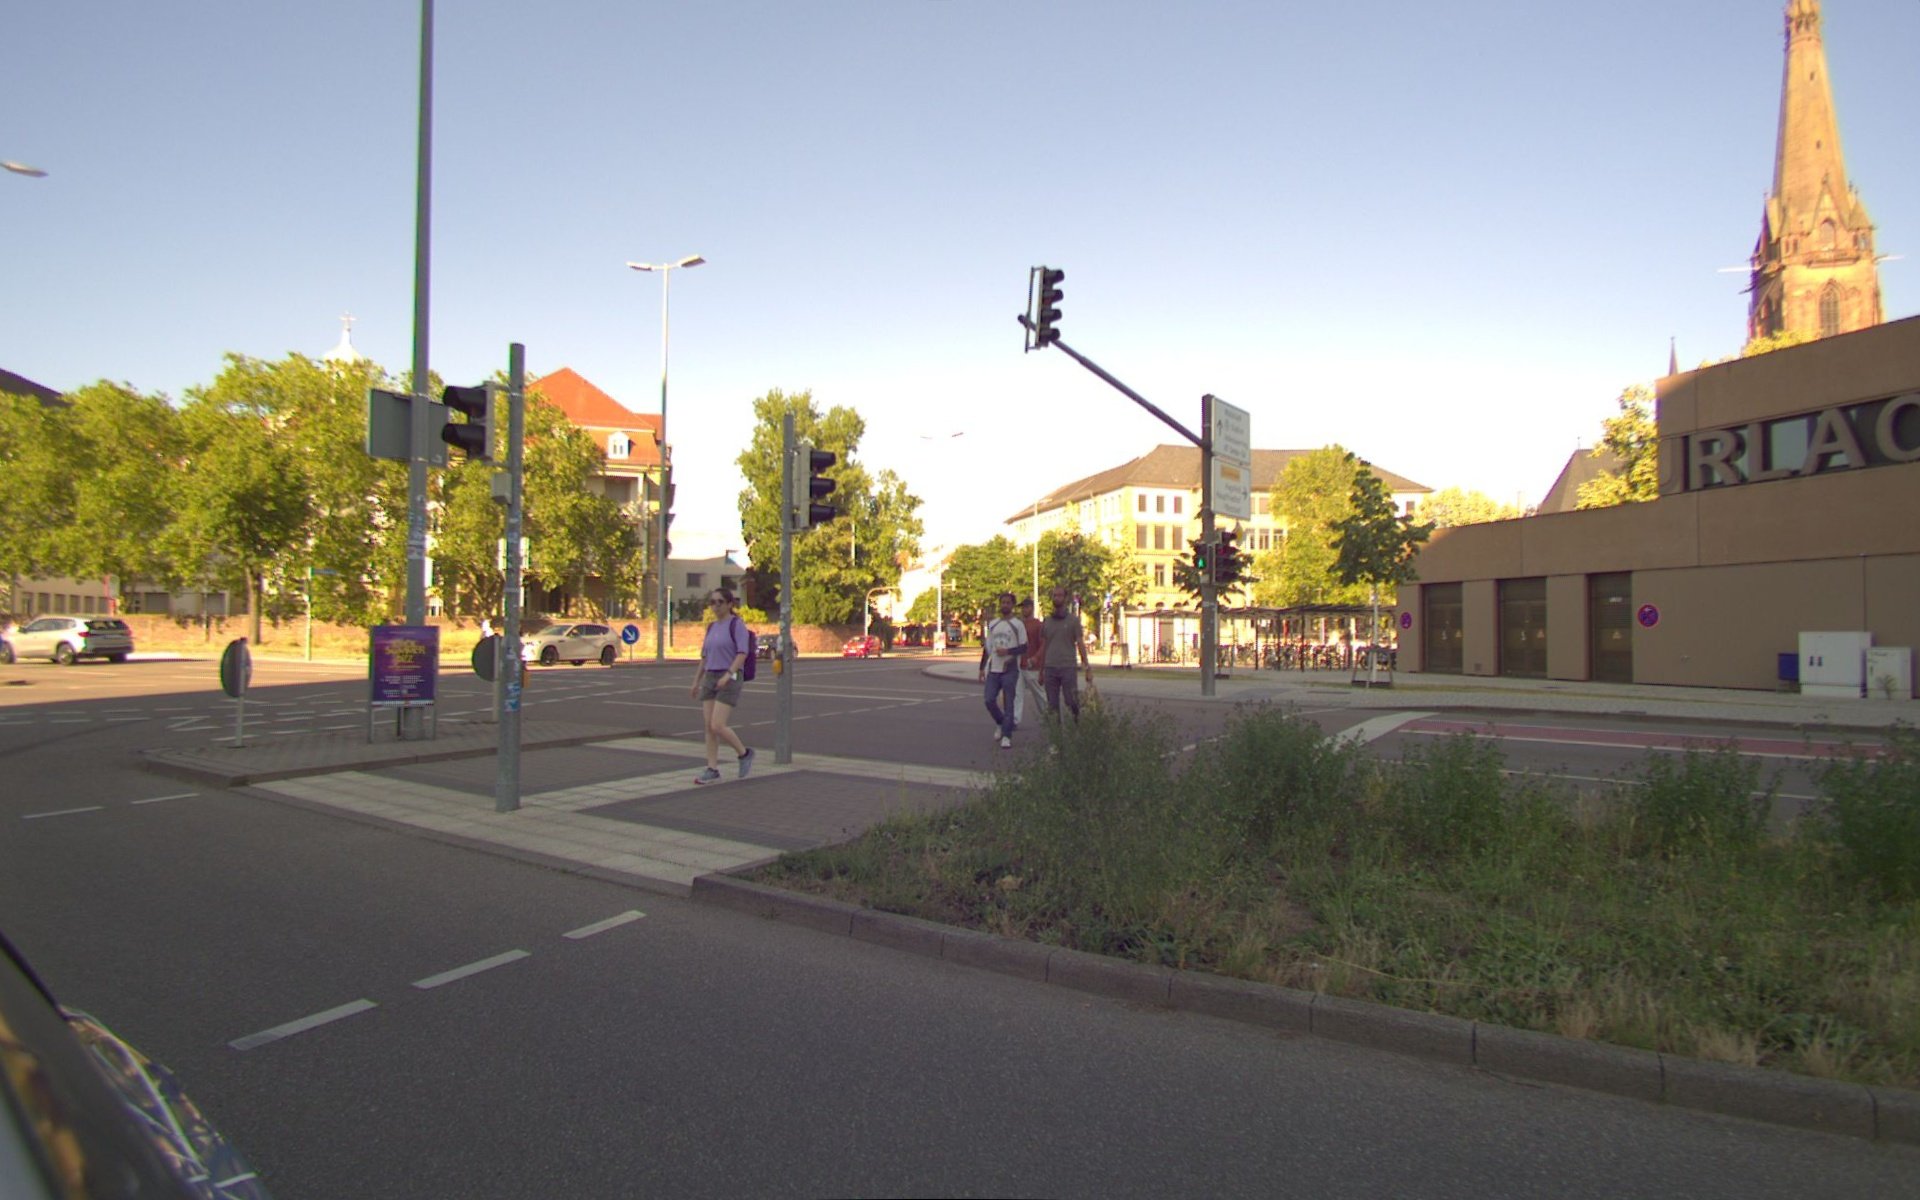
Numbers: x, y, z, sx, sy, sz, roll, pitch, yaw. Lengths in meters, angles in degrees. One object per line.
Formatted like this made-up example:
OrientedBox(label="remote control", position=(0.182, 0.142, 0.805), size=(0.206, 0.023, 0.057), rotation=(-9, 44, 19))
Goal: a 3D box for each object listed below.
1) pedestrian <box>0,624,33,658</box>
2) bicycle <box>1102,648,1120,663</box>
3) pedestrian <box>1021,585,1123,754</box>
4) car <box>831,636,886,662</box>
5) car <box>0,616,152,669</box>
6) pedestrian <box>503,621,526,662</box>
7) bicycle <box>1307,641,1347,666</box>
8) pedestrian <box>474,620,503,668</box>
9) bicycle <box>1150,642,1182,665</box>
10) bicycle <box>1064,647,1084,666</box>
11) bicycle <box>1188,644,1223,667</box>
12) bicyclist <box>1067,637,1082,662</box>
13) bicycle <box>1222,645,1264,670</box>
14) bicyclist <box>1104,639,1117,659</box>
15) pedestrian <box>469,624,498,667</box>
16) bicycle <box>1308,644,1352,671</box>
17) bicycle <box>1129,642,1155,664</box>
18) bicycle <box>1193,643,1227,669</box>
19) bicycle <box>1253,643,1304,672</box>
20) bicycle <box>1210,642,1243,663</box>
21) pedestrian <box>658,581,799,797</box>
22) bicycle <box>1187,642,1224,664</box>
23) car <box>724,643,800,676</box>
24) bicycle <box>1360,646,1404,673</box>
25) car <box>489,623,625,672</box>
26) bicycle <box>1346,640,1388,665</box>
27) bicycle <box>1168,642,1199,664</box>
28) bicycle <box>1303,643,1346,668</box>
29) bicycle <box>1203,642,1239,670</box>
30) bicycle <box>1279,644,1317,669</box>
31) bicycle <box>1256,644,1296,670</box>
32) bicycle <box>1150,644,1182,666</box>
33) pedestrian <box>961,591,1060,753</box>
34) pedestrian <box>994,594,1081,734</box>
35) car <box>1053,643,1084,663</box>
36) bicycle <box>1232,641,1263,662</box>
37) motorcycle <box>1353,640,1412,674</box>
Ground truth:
OrientedBox(label="pedestrian", position=(-43.447, 1.886, 46.446), size=(0.916, 1.548, 0.967), rotation=(-1, -2, 21))
OrientedBox(label="bicycle", position=(12.359, 4.537, 82.868), size=(0.877, 1.106, 2.171), rotation=(-1, -2, 23))
OrientedBox(label="pedestrian", position=(1.239, 0.741, 11.118), size=(0.755, 1.754, 0.916), rotation=(-1, -3, 36))
OrientedBox(label="car", position=(-6.624, 3.196, 66.398), size=(2.174, 1.598, 4.585), rotation=(-2, -3, 14))
OrientedBox(label="car", position=(-29.764, 1.389, 33.868), size=(4.322, 1.632, 2.146), rotation=(0, 1, 15))
OrientedBox(label="pedestrian", position=(-18.715, 1.723, 42.512), size=(0.779, 1.665, 0.715), rotation=(3, 0, -27))
OrientedBox(label="bicycle", position=(17.040, 2.491, 47.074), size=(0.557, 1.097, 2.078), rotation=(-1, -1, -19))
OrientedBox(label="pedestrian", position=(-19.236, 1.786, 41.268), size=(0.858, 1.908, 0.714), rotation=(3, -1, -36))
OrientedBox(label="bicycle", position=(10.090, 2.611, 49.536), size=(0.557, 1.062, 1.980), rotation=(-1, -1, -20))
OrientedBox(label="bicycle", position=(7.925, 3.904, 70.239), size=(0.759, 1.196, 2.588), rotation=(-3, -3, 20))
OrientedBox(label="bicycle", position=(12.127, 2.716, 50.062), size=(0.745, 1.062, 1.979), rotation=(-1, -1, -18))
OrientedBox(label="bicyclist", position=(7.924, 3.427, 70.293), size=(0.759, 1.681, 1.055), rotation=(-3, -3, 20))
OrientedBox(label="bicycle", position=(13.048, 2.628, 46.701), size=(0.851, 1.051, 1.938), rotation=(-1, -1, -20))
OrientedBox(label="bicyclist", position=(12.310, 4.020, 82.811), size=(0.861, 1.666, 0.936), rotation=(-2, -3, 24))
OrientedBox(label="pedestrian", position=(-19.071, 1.823, 40.483), size=(0.858, 1.686, 0.714), rotation=(3, -1, -36))
OrientedBox(label="bicycle", position=(15.110, 2.341, 41.378), size=(0.514, 1.051, 1.854), rotation=(-1, -1, -22))
OrientedBox(label="bicycle", position=(9.156, 2.674, 51.034), size=(0.557, 1.062, 1.978), rotation=(-1, -1, -12))
OrientedBox(label="bicycle", position=(11.282, 2.503, 45.728), size=(0.477, 1.114, 1.807), rotation=(-1, -1, -24))
OrientedBox(label="bicycle", position=(12.656, 2.275, 40.262), size=(0.732, 1.114, 2.131), rotation=(-1, -3, -21))
OrientedBox(label="bicycle", position=(14.024, 2.769, 53.273), size=(0.502, 1.062, 1.980), rotation=(-1, -1, -25))
OrientedBox(label="pedestrian", position=(-2.005, 0.742, 8.832), size=(0.755, 1.754, 0.916), rotation=(-1, -3, 36))
OrientedBox(label="bicycle", position=(12.816, 2.763, 52.832), size=(0.823, 1.062, 2.126), rotation=(-1, -1, -19))
OrientedBox(label="car", position=(-10.372, 3.117, 53.291), size=(2.174, 1.598, 4.585), rotation=(-2, -3, 14))
OrientedBox(label="bicycle", position=(17.449, 2.441, 41.883), size=(0.514, 1.051, 1.938), rotation=(-1, -1, -19))
OrientedBox(label="car", position=(-15.311, 1.788, 38.725), size=(2.183, 1.697, 4.566), rotation=(-3, -3, 26))
OrientedBox(label="bicycle", position=(18.565, 2.372, 46.204), size=(0.557, 1.097, 2.078), rotation=(-1, -1, -19))
OrientedBox(label="bicycle", position=(11.463, 2.710, 51.960), size=(0.671, 1.062, 1.942), rotation=(-1, -1, -17))
OrientedBox(label="bicycle", position=(16.329, 2.484, 45.407), size=(0.594, 1.051, 2.114), rotation=(-1, -1, -19))
OrientedBox(label="bicycle", position=(11.378, 2.429, 44.199), size=(0.557, 1.114, 1.979), rotation=(-1, -1, -18))
OrientedBox(label="bicycle", position=(14.955, 2.483, 44.839), size=(0.594, 1.051, 2.039), rotation=(-1, -1, -14))
OrientedBox(label="bicycle", position=(13.901, 2.504, 44.528), size=(0.594, 1.051, 2.040), rotation=(-1, -1, -17))
OrientedBox(label="bicycle", position=(10.524, 2.785, 51.761), size=(0.671, 1.062, 2.029), rotation=(-1, -1, -17))
OrientedBox(label="pedestrian", position=(0.587, 0.805, 11.601), size=(0.755, 1.754, 0.916), rotation=(-1, -3, 36))
OrientedBox(label="pedestrian", position=(1.022, 0.817, 13.243), size=(0.786, 1.754, 0.916), rotation=(-1, -3, 36))
OrientedBox(label="car", position=(8.933, 4.303, 82.900), size=(1.792, 1.455, 3.955), rotation=(-1, -1, 18))
OrientedBox(label="bicycle", position=(15.418, 2.777, 54.405), size=(0.489, 1.062, 1.980), rotation=(-1, -1, -21))
OrientedBox(label="motorcycle", position=(16.293, 2.189, 39.104), size=(0.707, 1.257, 2.363), rotation=(-1, -3, -16))
